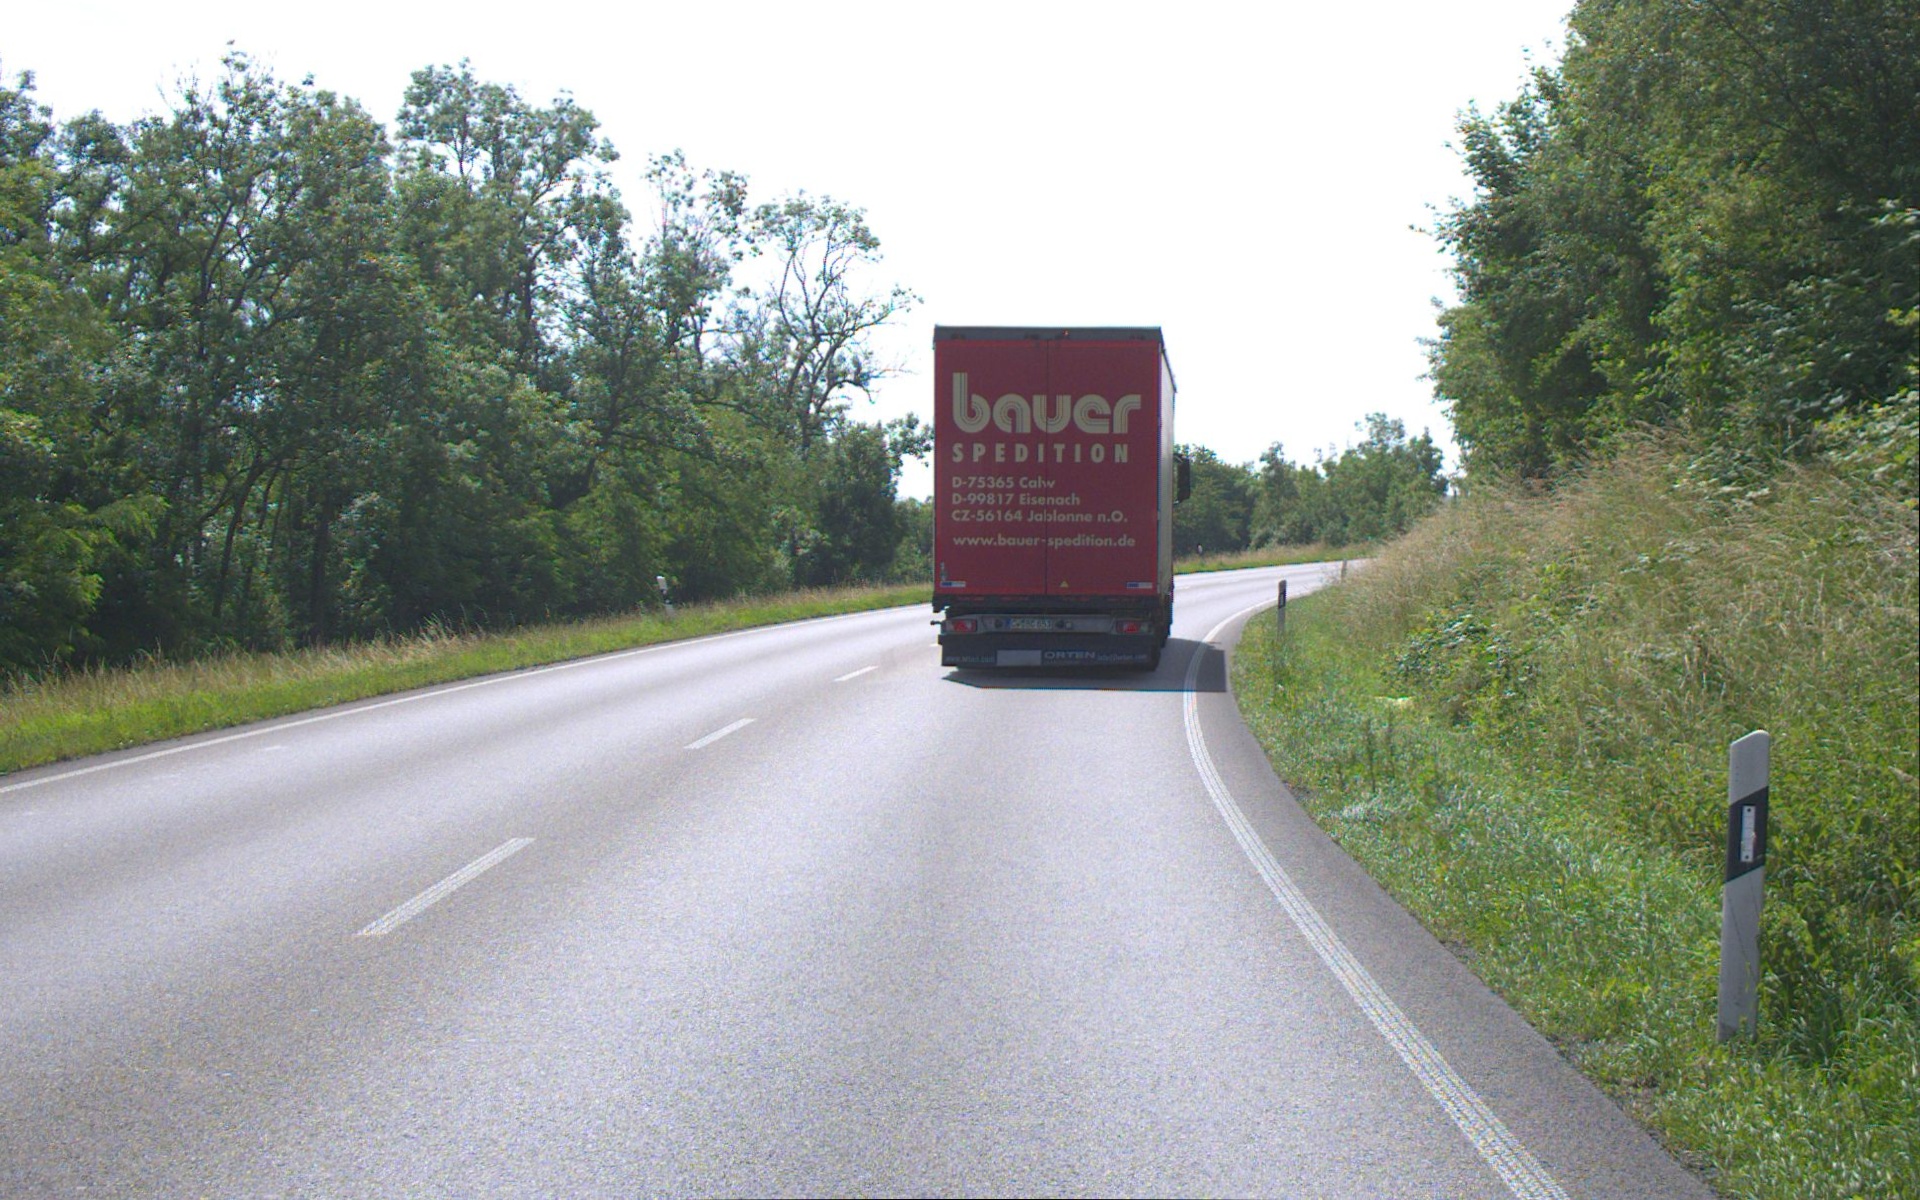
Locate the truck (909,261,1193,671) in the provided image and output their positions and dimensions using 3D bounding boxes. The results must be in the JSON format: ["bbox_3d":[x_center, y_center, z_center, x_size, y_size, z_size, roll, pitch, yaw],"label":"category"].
[{"bbox_3d":[1.272,-1.579,43.884,3.112,4.490,12.167,0,1,3],"label":"truck"}]
